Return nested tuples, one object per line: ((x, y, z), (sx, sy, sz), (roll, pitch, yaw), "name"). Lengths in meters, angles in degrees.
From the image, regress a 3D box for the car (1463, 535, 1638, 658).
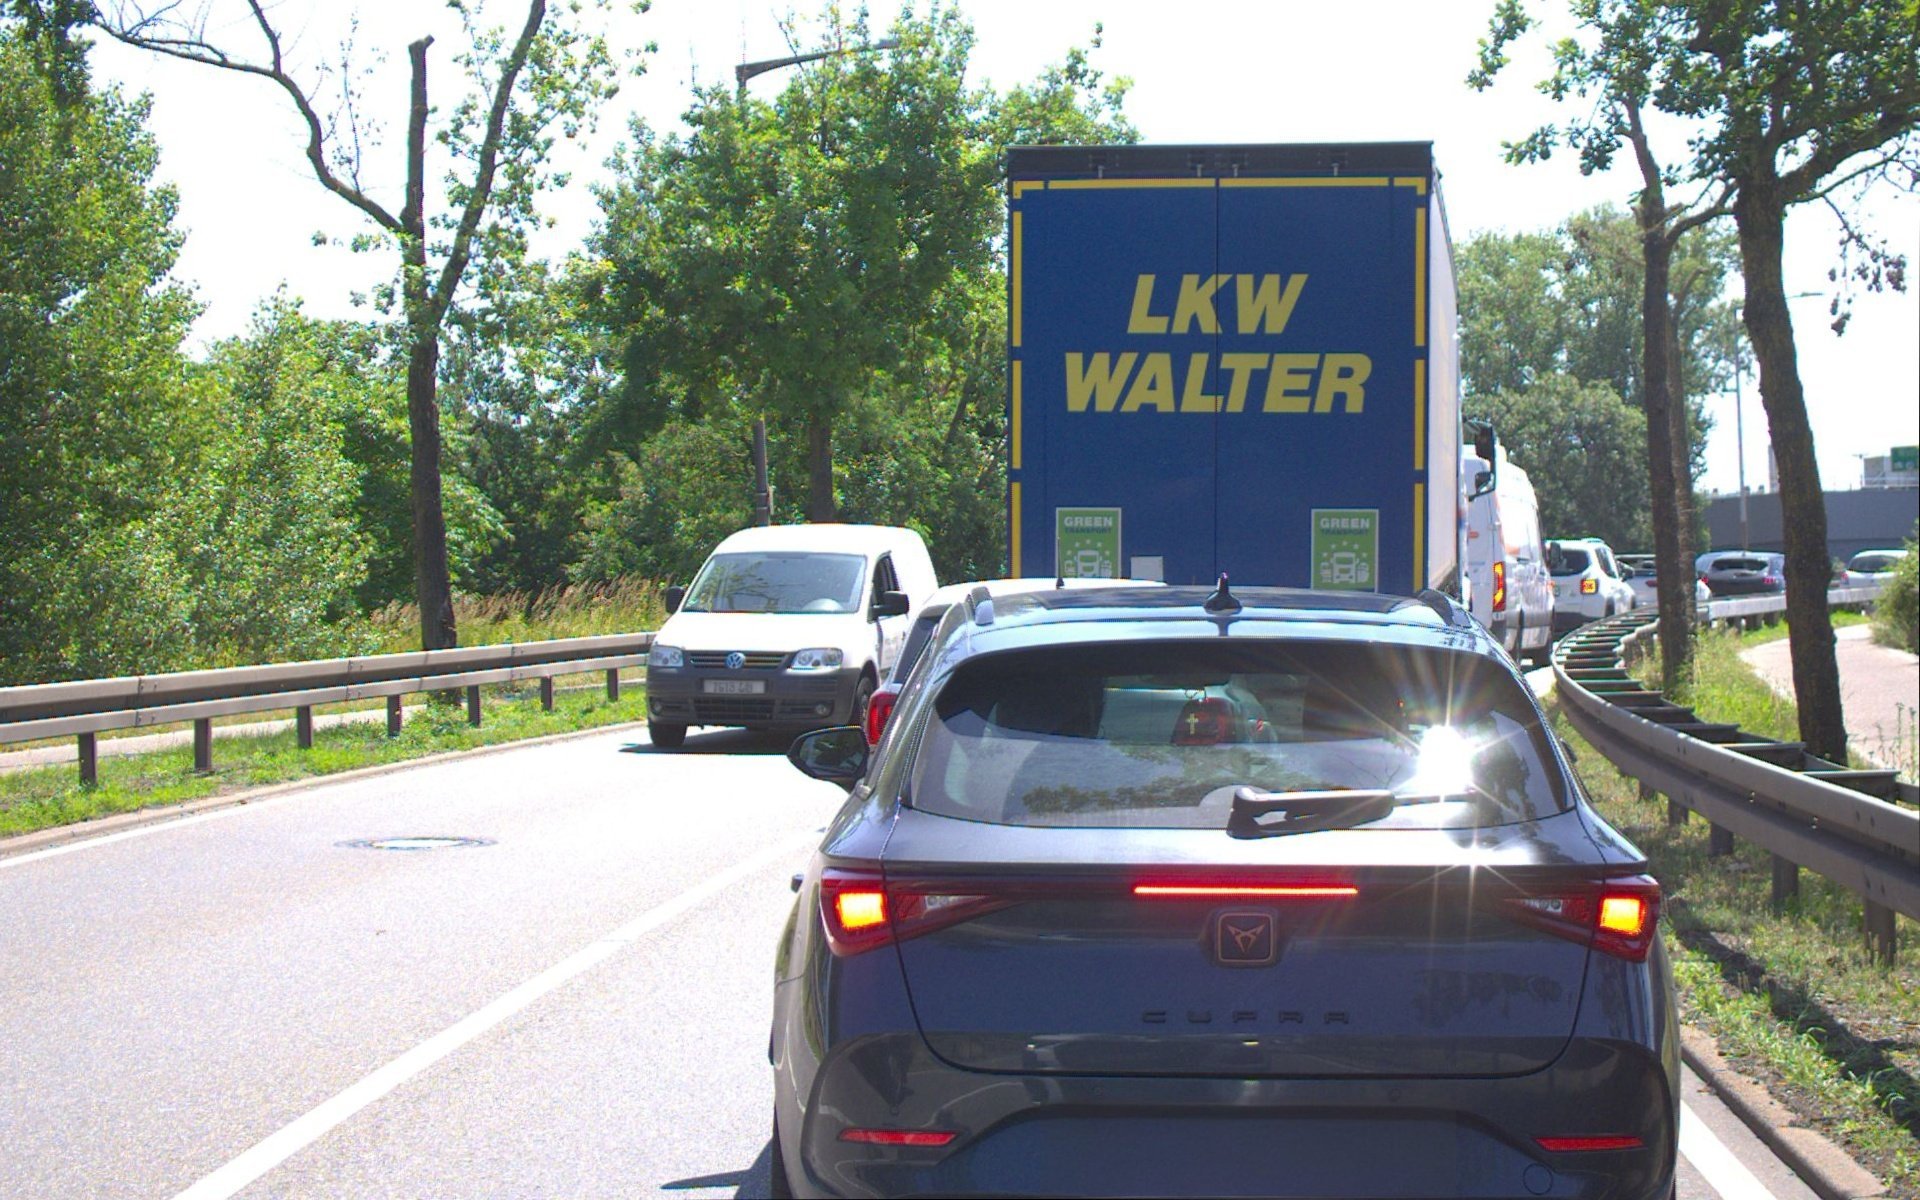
((8.718, -0.079, 50.474), (1.995, 1.706, 4.616), (1, 1, 16), "car")

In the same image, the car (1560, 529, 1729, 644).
((11.360, -0.245, 56.811), (1.995, 1.802, 4.840), (1, 1, 20), "car")

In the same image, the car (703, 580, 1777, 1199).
((0.441, 0.689, 7.552), (1.744, 1.427, 3.880), (1, 1, 0), "car")

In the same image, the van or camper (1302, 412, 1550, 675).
((5.826, -0.682, 42.256), (2.468, 2.988, 6.083), (1, 1, 13), "van or camper")

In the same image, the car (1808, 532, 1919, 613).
((20.562, -0.626, 77.687), (1.996, 1.762, 4.749), (1, 1, 23), "car")

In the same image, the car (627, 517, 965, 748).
((-1.272, 0.222, 28.664), (1.746, 1.757, 4.387), (1, 1, 12), "car")

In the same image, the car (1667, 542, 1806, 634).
((15.136, -0.244, 66.819), (1.995, 1.711, 4.863), (1, 1, 20), "car")

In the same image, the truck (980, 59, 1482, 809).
((2.805, -1.083, 28.844), (2.951, 4.433, 16.792), (1, 1, 8), "truck")

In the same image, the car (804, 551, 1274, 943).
((0.317, 0.546, 15.344), (1.809, 1.503, 4.000), (1, 1, 0), "car")
